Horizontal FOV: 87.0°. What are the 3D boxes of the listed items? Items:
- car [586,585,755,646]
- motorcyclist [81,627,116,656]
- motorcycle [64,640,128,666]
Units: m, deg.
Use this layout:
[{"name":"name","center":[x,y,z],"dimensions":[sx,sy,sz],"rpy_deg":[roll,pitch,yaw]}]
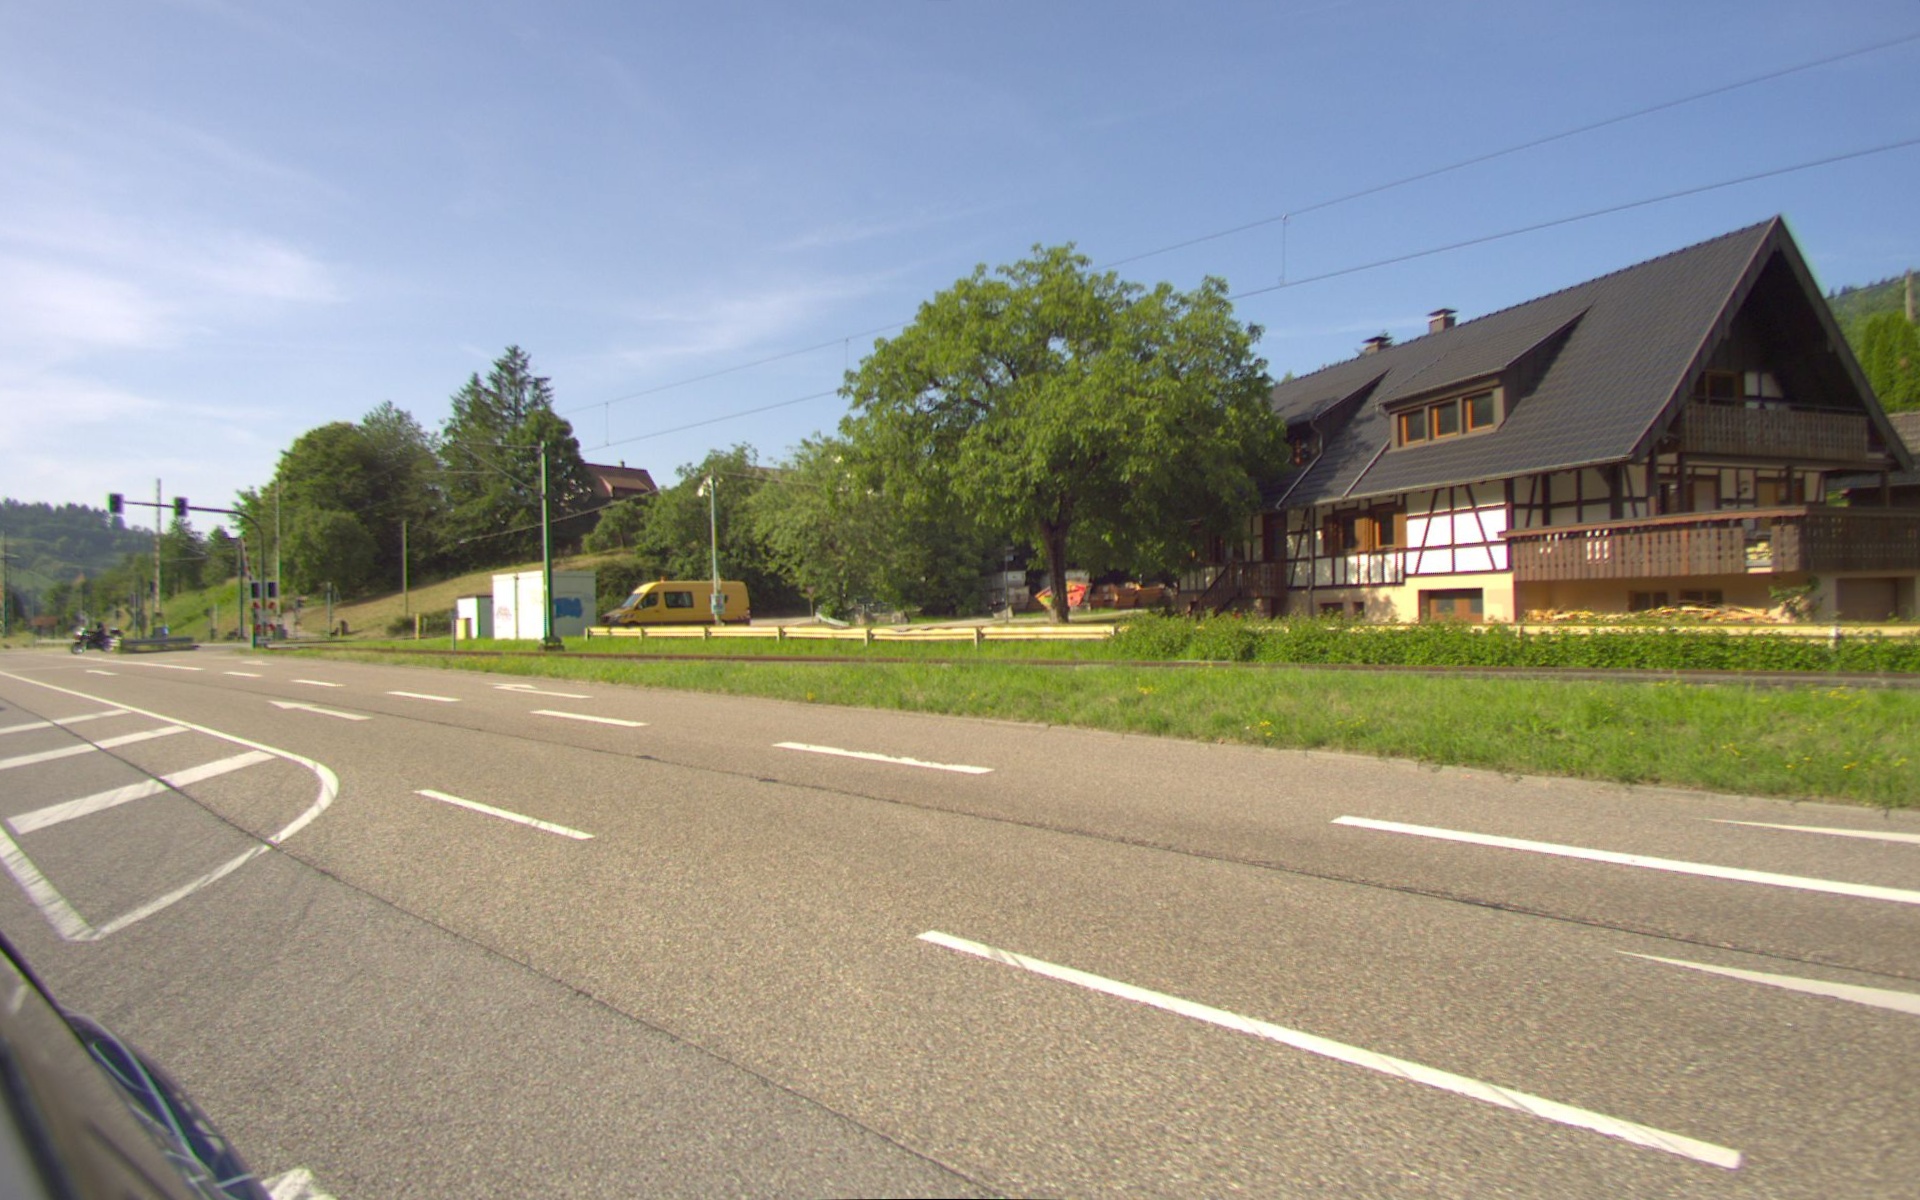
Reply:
[{"name":"car","center":[-13.462,0.684,47.366],"dimensions":[6.974,2.475,2.954],"rpy_deg":[-2,0,-38]},{"name":"motorcyclist","center":[-49.483,2.379,58.141],"dimensions":[0.987,1.555,1.175],"rpy_deg":[-2,1,29]},{"name":"motorcycle","center":[-49.504,3.042,58.039],"dimensions":[1.001,1.278,2.569],"rpy_deg":[-2,1,28]}]
